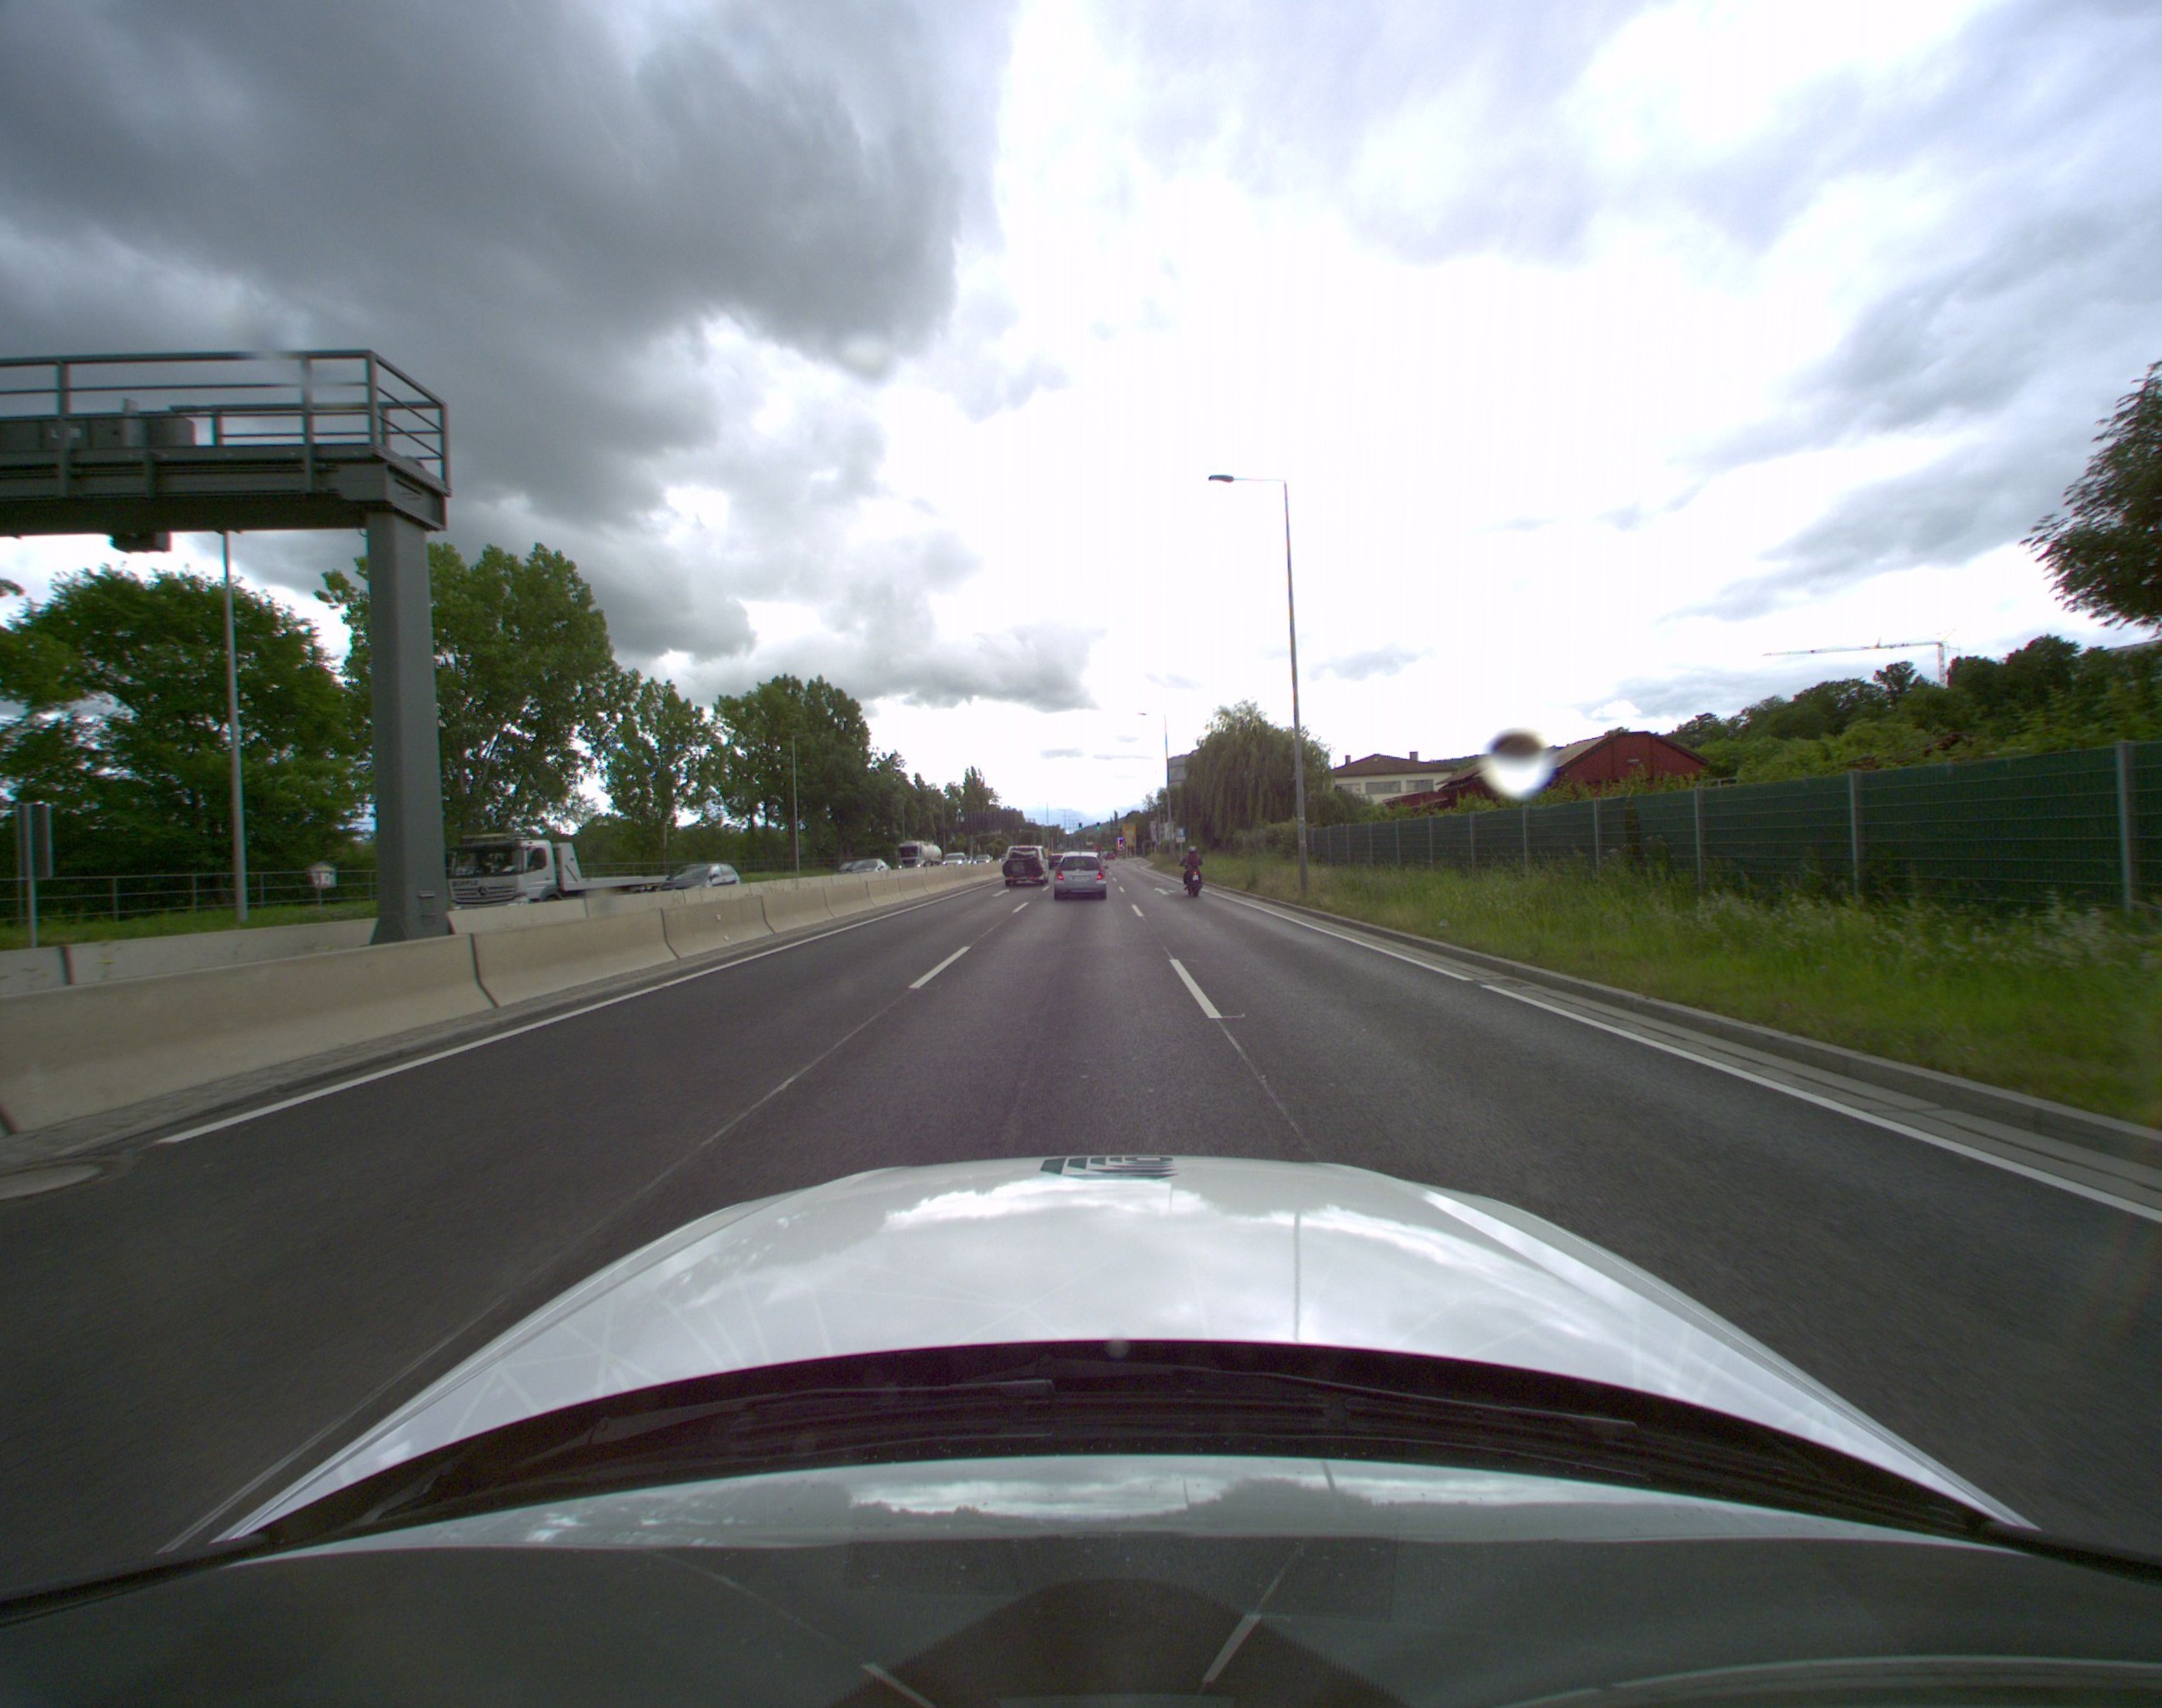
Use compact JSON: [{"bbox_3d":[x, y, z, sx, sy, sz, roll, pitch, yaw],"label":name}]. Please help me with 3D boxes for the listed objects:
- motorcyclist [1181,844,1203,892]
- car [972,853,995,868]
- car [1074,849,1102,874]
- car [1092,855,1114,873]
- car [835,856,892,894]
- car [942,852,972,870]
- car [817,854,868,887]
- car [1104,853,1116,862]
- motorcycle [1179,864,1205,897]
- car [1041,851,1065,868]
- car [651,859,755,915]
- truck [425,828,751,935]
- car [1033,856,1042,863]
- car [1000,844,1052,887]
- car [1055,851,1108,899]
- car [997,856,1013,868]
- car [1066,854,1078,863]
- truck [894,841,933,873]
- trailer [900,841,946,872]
[{"bbox_3d":[3.761,0.465,27.634,0.682,1.610,0.846,0,0,3],"label":"motorcyclist"},{"bbox_3d":[-11.159,0.702,93.589,1.986,1.618,4.698,0,0,1],"label":"car"},{"bbox_3d":[0.514,0.489,56.300,1.901,1.684,4.001,0,0,1],"label":"car"},{"bbox_3d":[1.891,0.812,70.172,1.833,1.464,4.001,0,0,1],"label":"car"},{"bbox_3d":[-11.413,1.064,43.007,1.810,1.903,4.001,0,0,1],"label":"car"},{"bbox_3d":[-11.371,0.637,75.015,1.986,1.618,4.698,0,0,1],"label":"car"},{"bbox_3d":[-15.179,1.030,52.081,1.986,2.013,4.001,0,0,1],"label":"car"},{"bbox_3d":[5.174,0.611,145.757,1.987,1.552,4.000,0,0,0],"label":"car"},{"bbox_3d":[3.747,0.878,27.689,0.703,1.040,2.028,0,0,3],"label":"motorcycle"},{"bbox_3d":[-2.559,0.473,74.939,1.987,1.552,4.000,0,0,0],"label":"car"},{"bbox_3d":[-13.823,1.139,30.063,1.810,1.877,4.102,0,0,1],"label":"car"},{"bbox_3d":[-17.478,0.749,31.499,2.844,3.107,15.885,0,0,0],"label":"truck"},{"bbox_3d":[-10.627,1.321,197.269,1.871,1.683,4.126,0,0,1],"label":"car"},{"bbox_3d":[-2.567,0.491,39.060,2.208,1.925,5.000,0,0,-1],"label":"car"},{"bbox_3d":[0.036,0.672,28.323,1.705,1.530,4.000,0,0,1],"label":"car"},{"bbox_3d":[-11.305,1.171,121.329,1.986,1.739,4.001,0,0,1],"label":"car"},{"bbox_3d":[-1.618,0.754,144.582,1.987,1.552,4.000,0,0,0],"label":"car"},{"bbox_3d":[-17.380,0.286,84.856,3.089,3.219,5.389,0,0,-1],"label":"truck"},{"bbox_3d":[-17.469,0.248,90.763,3.091,3.220,11.662,0,0,-1],"label":"trailer"}]
